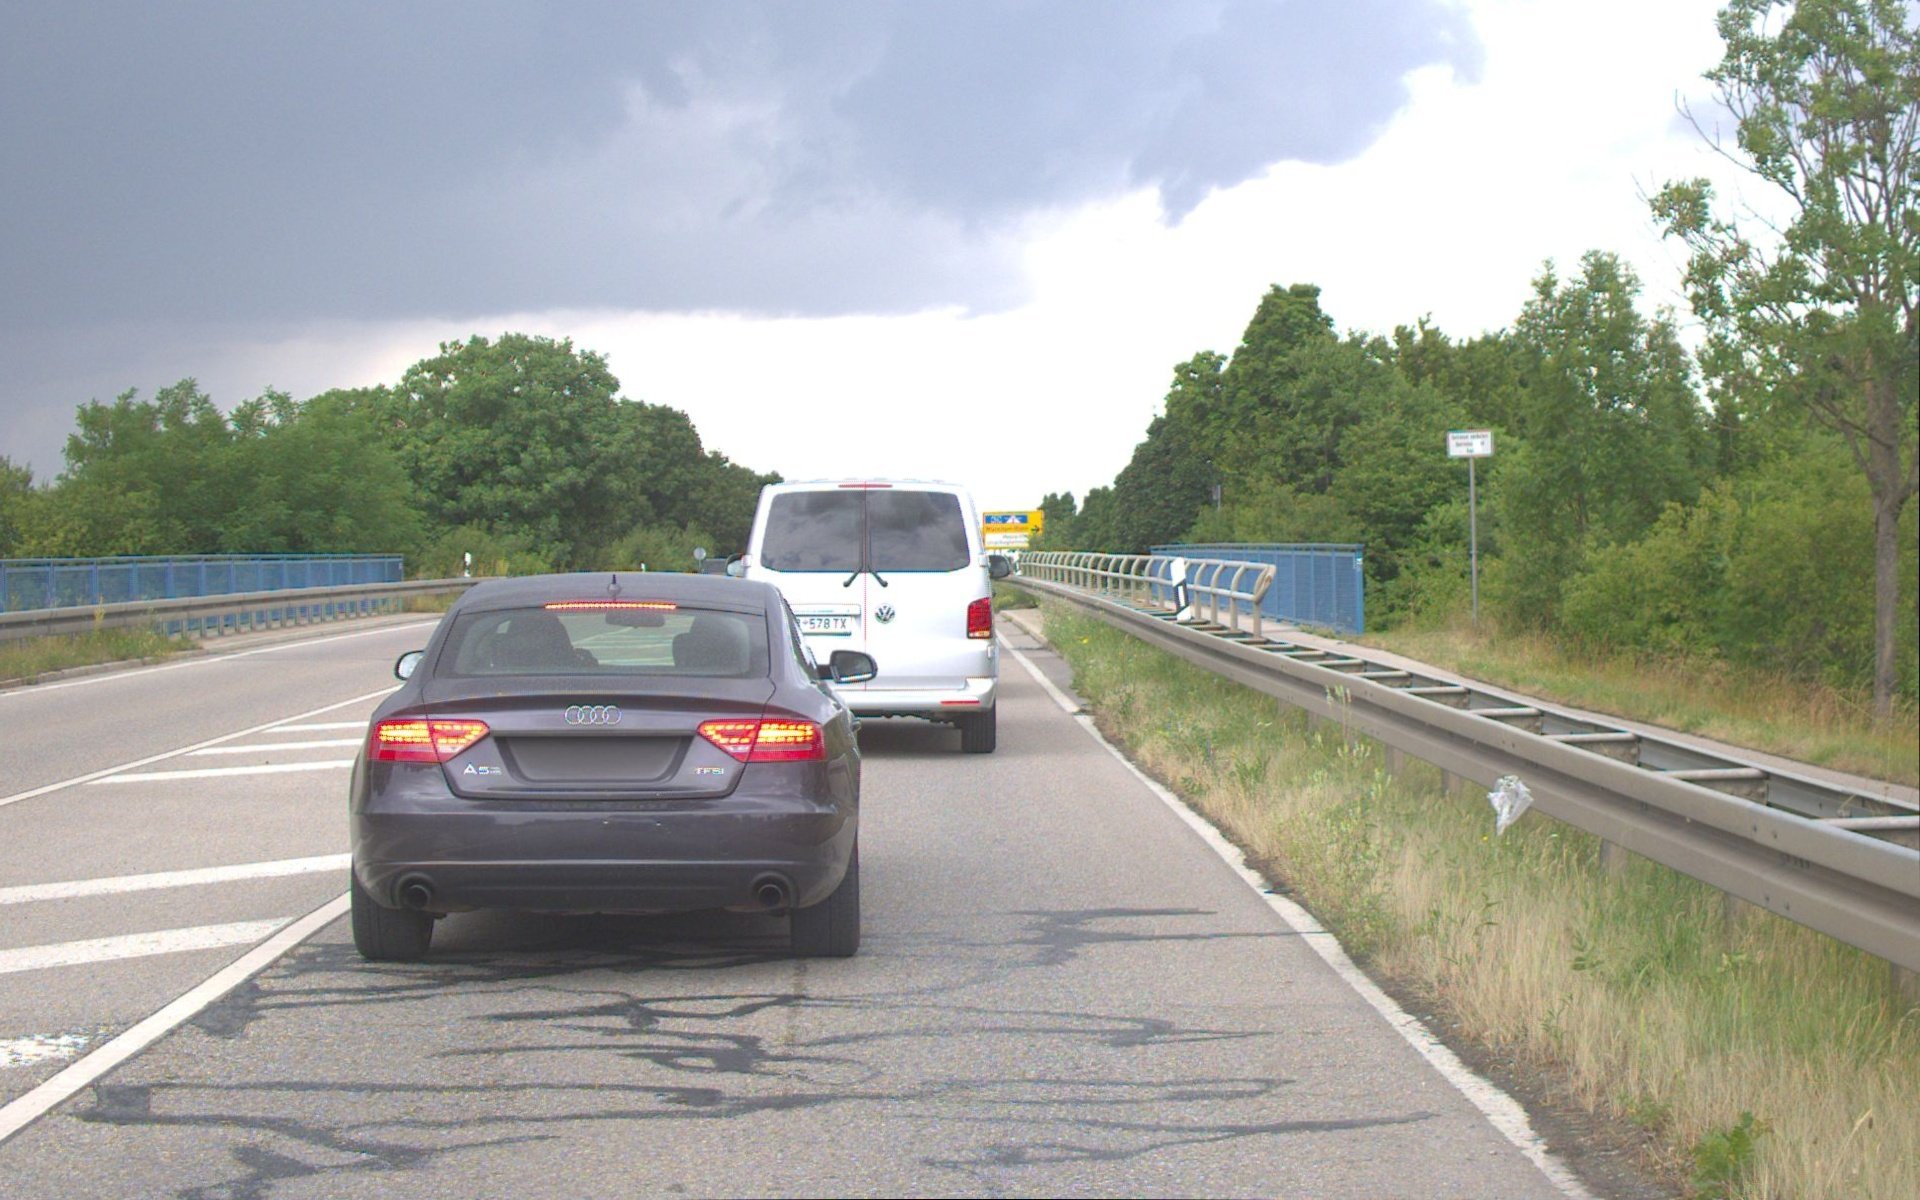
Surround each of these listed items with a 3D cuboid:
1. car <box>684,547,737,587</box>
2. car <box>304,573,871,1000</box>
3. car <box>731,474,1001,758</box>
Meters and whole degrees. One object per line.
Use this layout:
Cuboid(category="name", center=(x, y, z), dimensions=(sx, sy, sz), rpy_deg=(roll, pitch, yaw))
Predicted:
Cuboid(category="car", center=(-9.329, -1.232, 128.862), dimensions=(1.799, 1.445, 4.446), rpy_deg=(-1, 1, -2))
Cuboid(category="car", center=(-1.290, 0.603, 13.474), dimensions=(1.821, 1.376, 4.072), rpy_deg=(-1, 1, -1))
Cuboid(category="car", center=(-0.672, 0.082, 25.613), dimensions=(1.828, 1.929, 4.000), rpy_deg=(-1, 1, -1))
